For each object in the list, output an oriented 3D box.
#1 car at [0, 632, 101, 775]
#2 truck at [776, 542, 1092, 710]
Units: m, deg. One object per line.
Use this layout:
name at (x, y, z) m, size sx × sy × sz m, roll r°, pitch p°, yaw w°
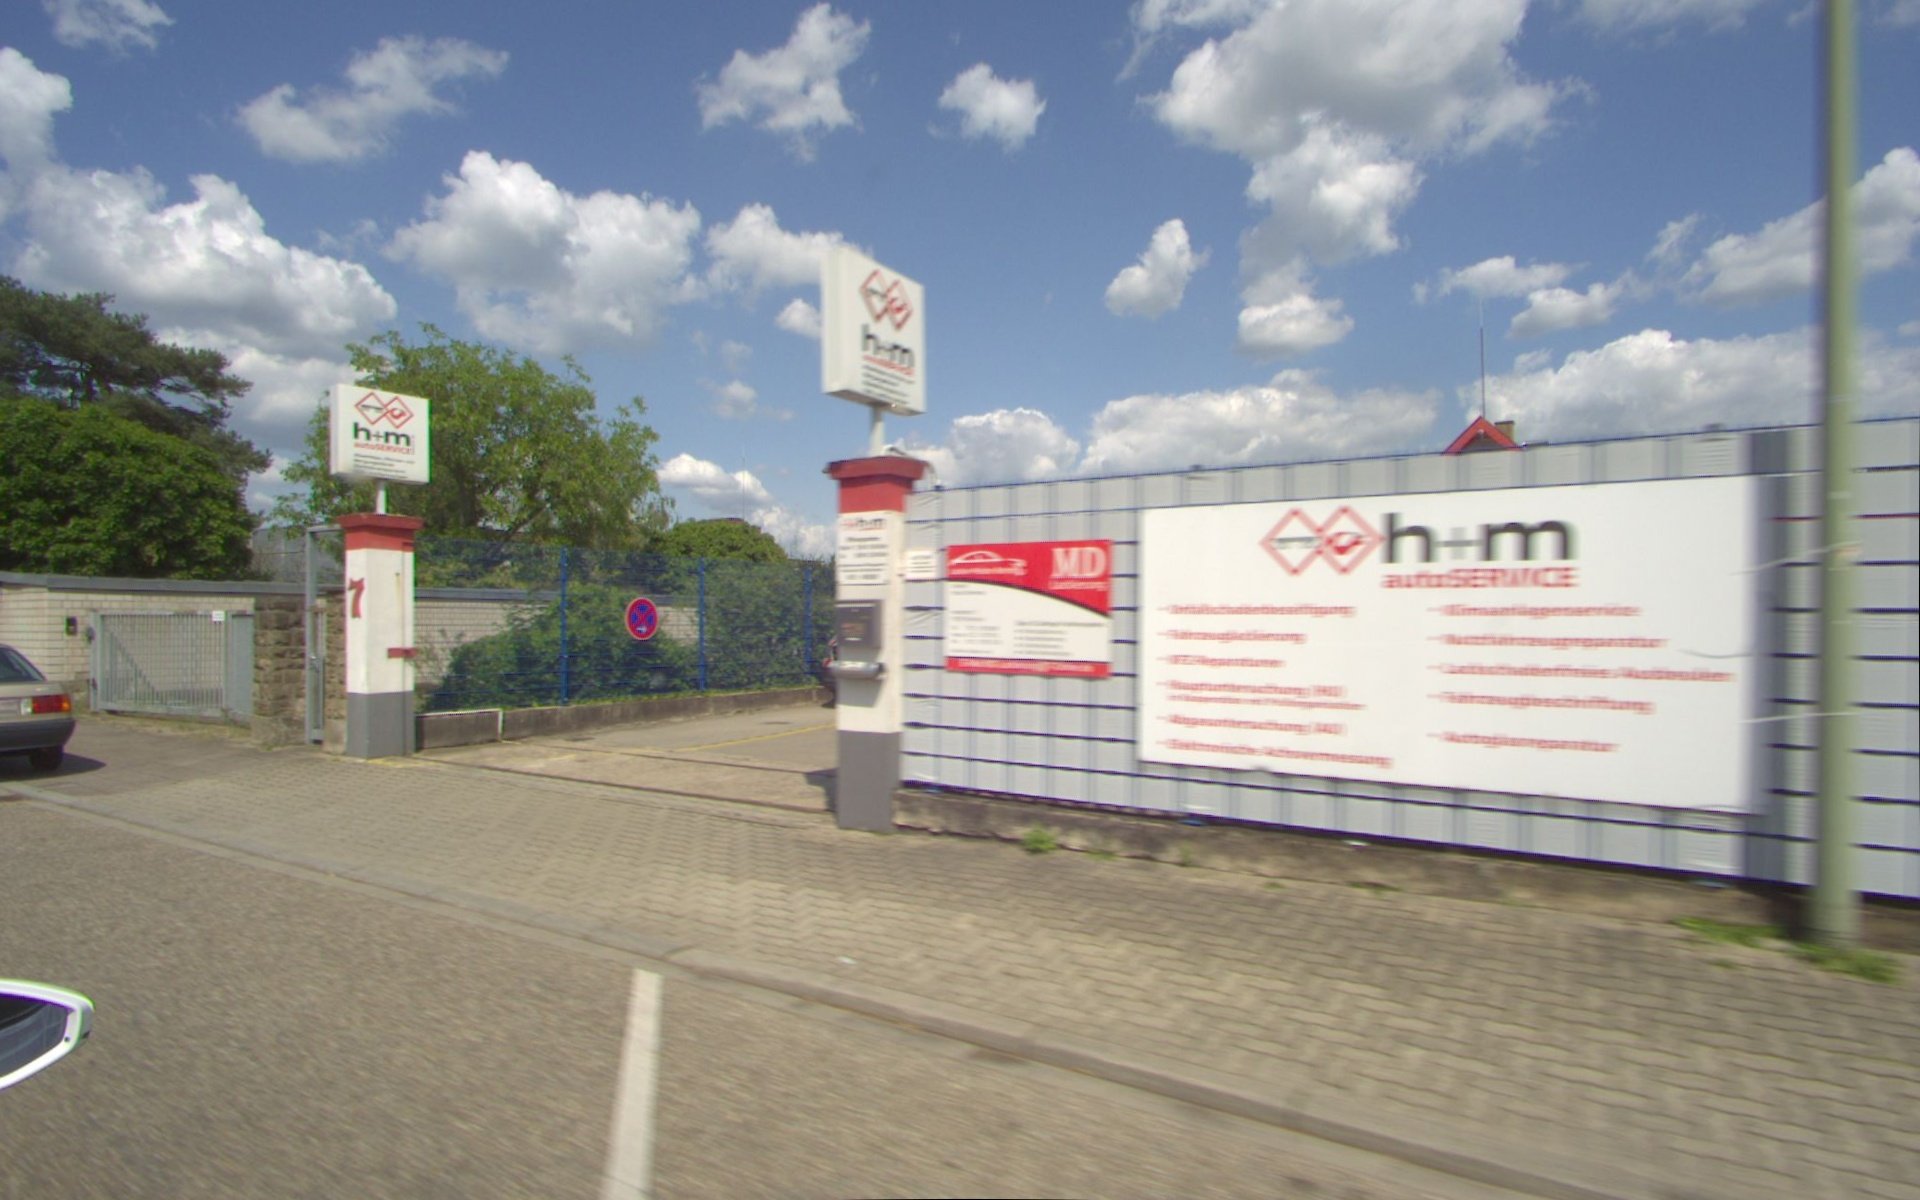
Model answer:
car at (-11.439, 1.062, 11.162) m, size 4.360 × 1.404 × 1.649 m, roll 0°, pitch -2°, yaw 33°
truck at (-0.133, 0.476, 18.988) m, size 2.540 × 2.558 × 7.065 m, roll 0°, pitch -1°, yaw 32°
